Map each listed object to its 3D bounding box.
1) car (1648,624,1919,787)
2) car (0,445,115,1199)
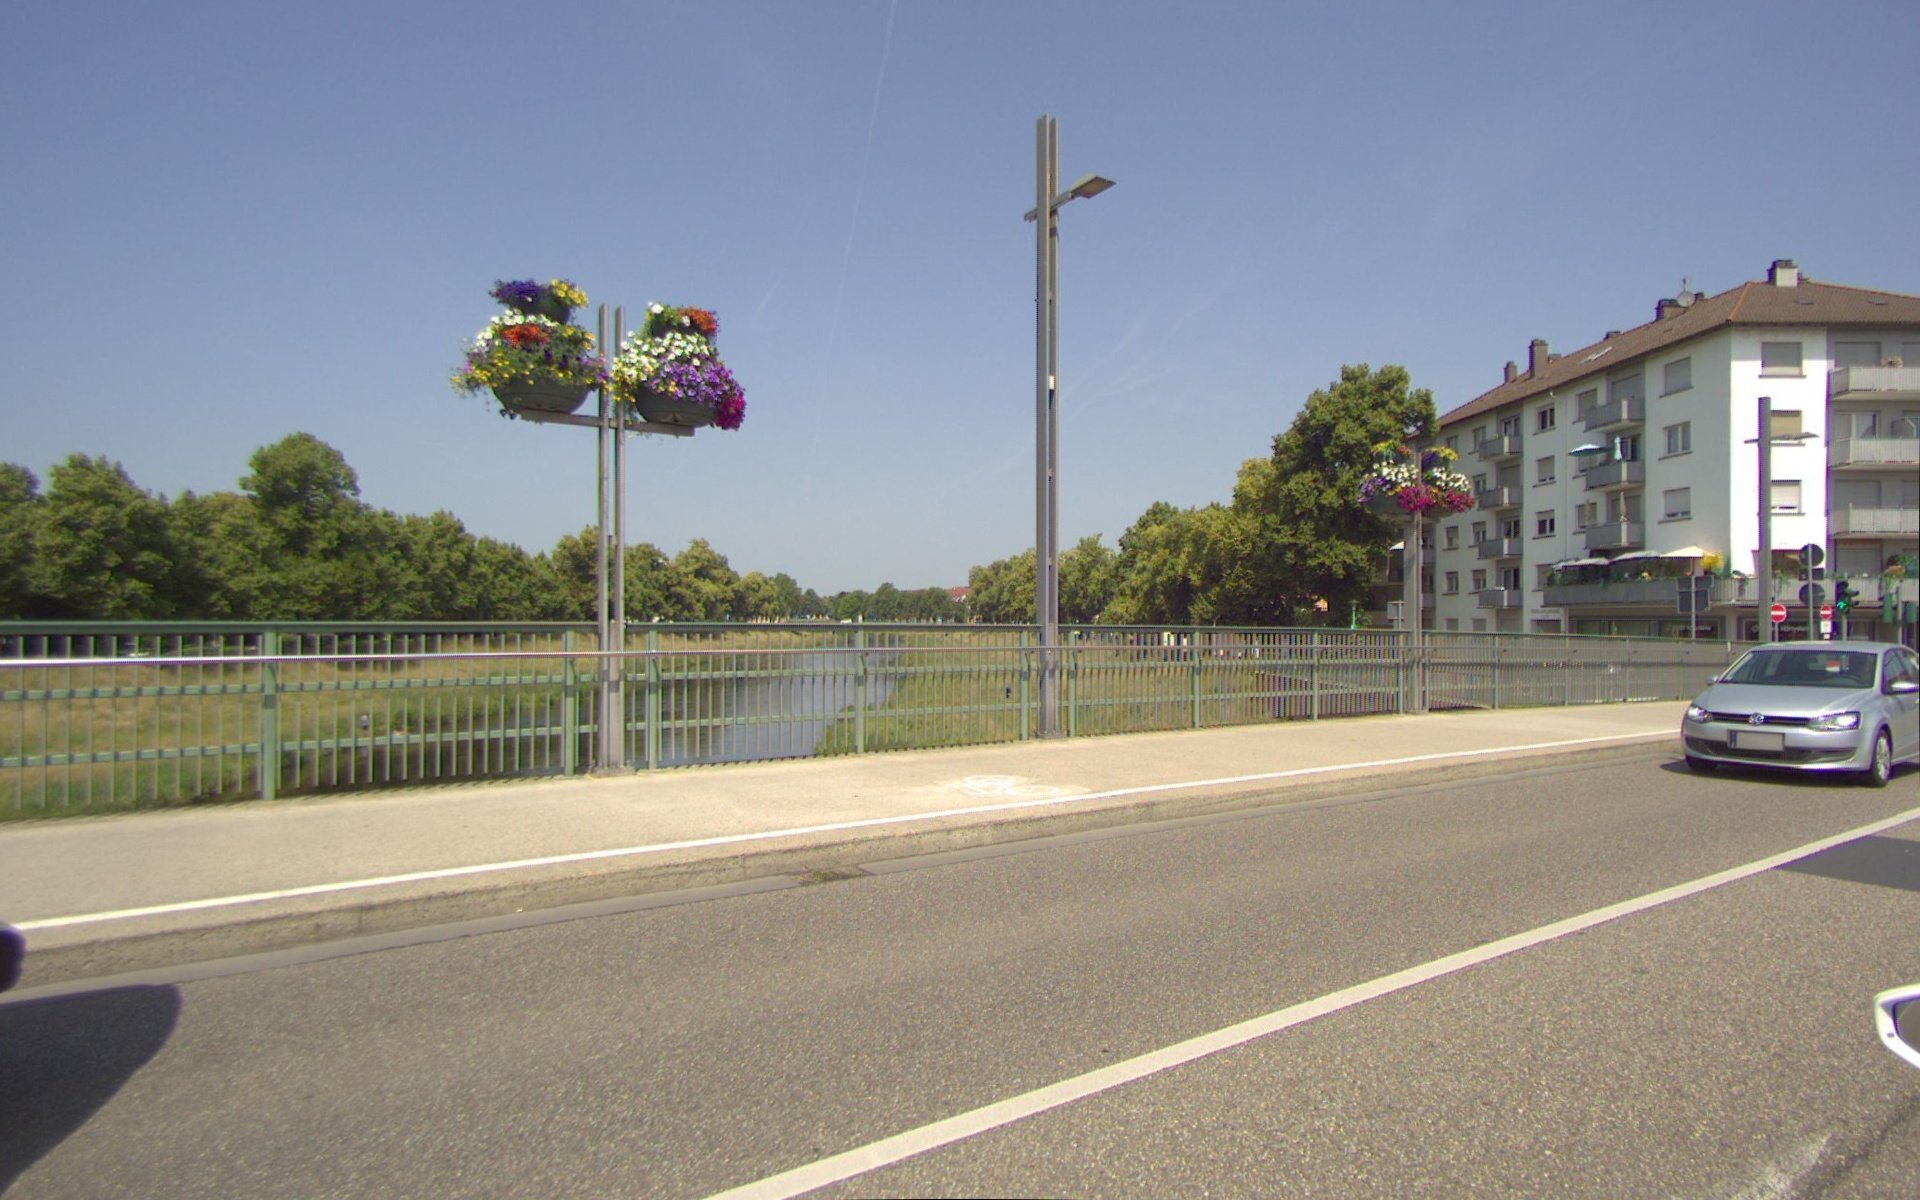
[{"bbox_3d":[9.645,1.046,11.319,3.957,1.539,1.750,1,-2,-33],"label":"car"},{"bbox_3d":[-4.480,0.577,1.604,4.599,1.882,1.748,1,-1,-35],"label":"car"}]
